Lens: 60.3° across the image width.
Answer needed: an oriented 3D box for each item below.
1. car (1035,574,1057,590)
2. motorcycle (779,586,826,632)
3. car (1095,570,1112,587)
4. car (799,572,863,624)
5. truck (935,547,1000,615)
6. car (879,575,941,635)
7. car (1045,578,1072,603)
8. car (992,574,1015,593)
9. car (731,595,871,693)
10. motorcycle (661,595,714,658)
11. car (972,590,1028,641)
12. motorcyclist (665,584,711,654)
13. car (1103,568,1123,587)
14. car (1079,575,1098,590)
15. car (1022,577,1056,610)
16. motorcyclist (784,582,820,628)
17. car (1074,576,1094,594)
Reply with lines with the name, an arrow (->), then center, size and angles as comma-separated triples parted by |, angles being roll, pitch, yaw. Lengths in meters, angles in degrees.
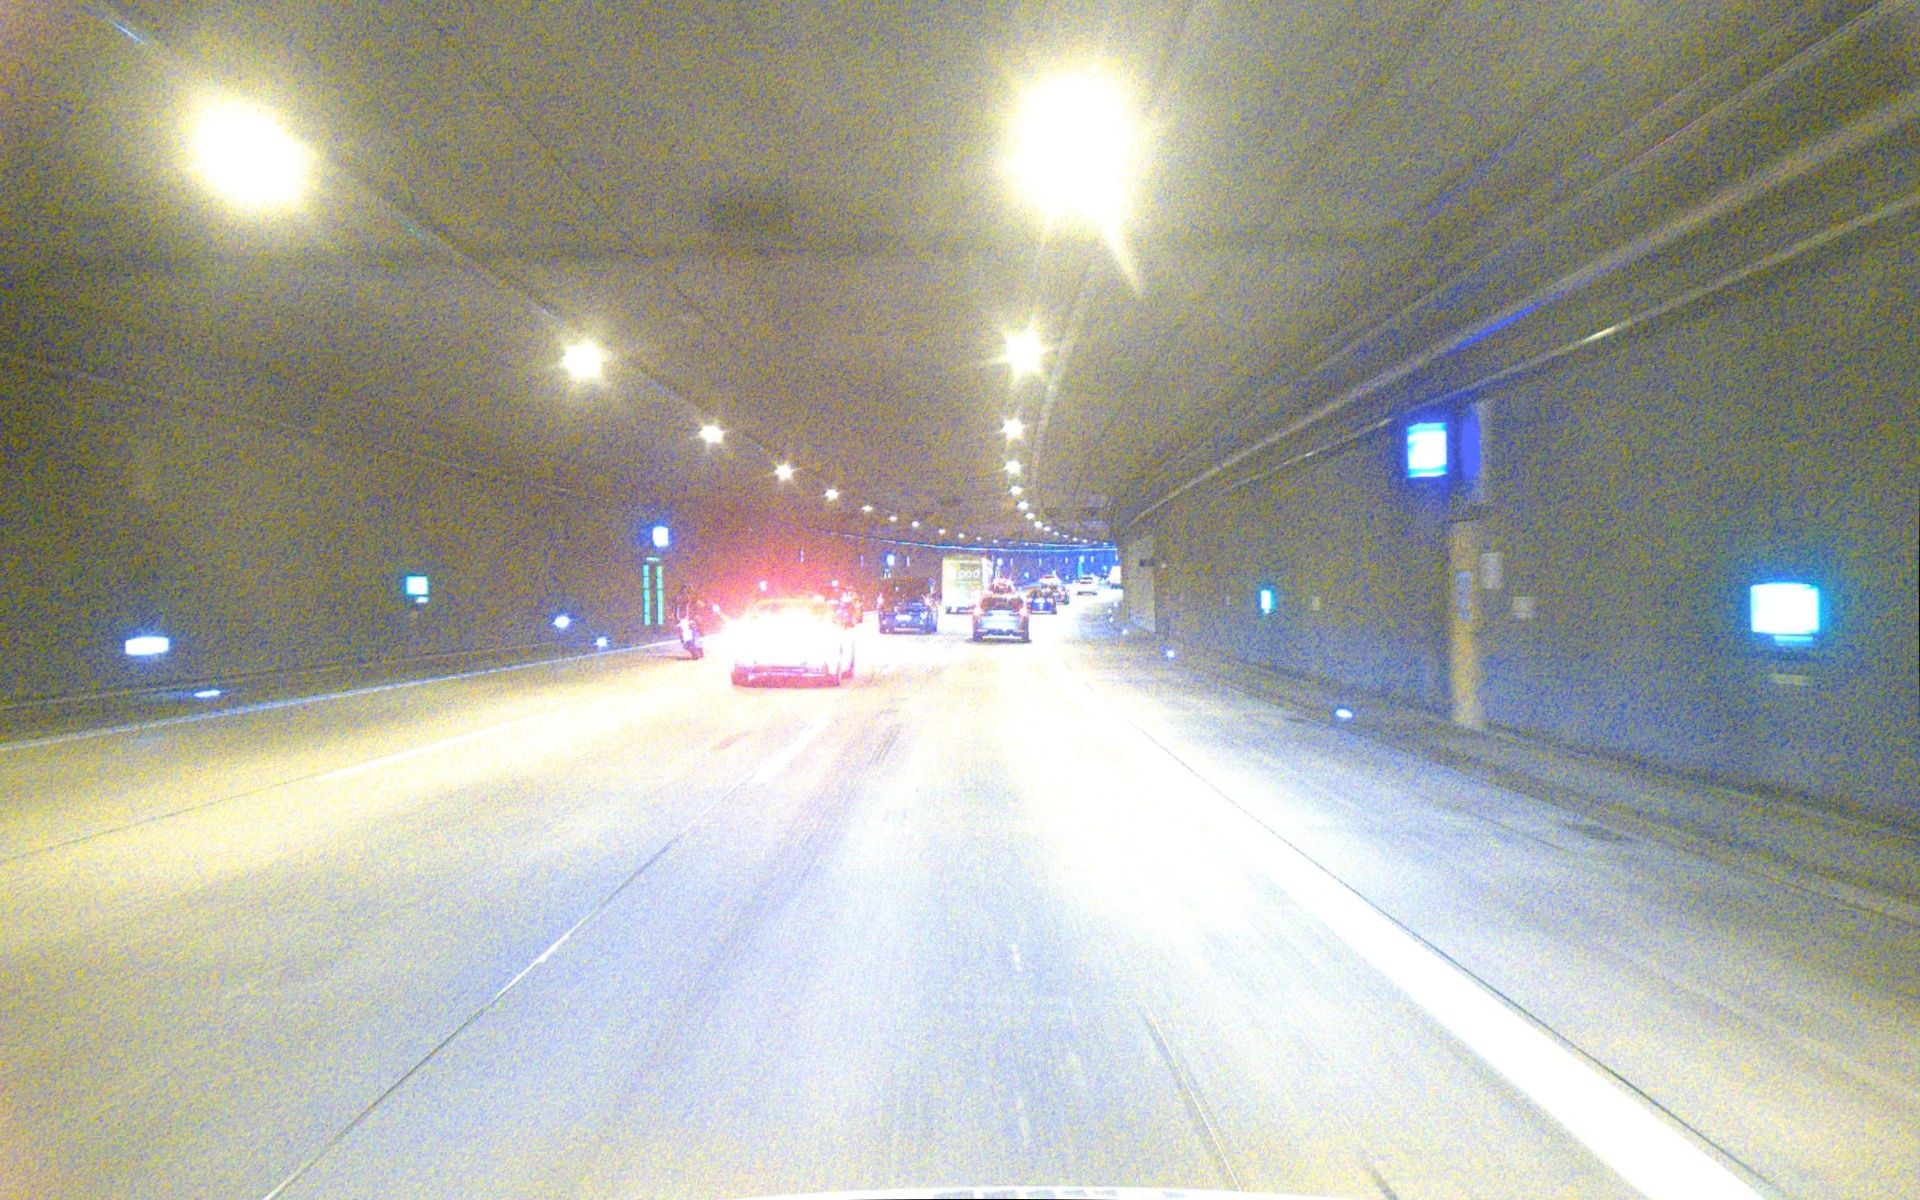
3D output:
car -> 9.704, -2.008, 185.591 | 1.889, 1.671, 4.003 | 1, 0, 11
motorcycle -> -5.128, 0.302, 54.040 | 0.906, 1.459, 2.965 | 1, 0, 6
car -> 17.716, -2.638, 203.544 | 1.951, 2.049, 4.003 | 1, 0, 6
car -> -5.217, -0.076, 67.181 | 1.951, 2.049, 4.002 | 0, 0, 5
truck -> 0.504, -1.069, 94.894 | 2.974, 3.737, 7.398 | 0, 0, 6
car -> -1.739, 0.128, 58.874 | 1.869, 1.978, 3.874 | 0, 2, 3
car -> 7.384, -0.702, 123.621 | 1.909, 1.803, 4.002 | 1, 0, 4
car -> 4.026, -1.499, 152.316 | 1.890, 1.671, 4.003 | 0, 0, 5
car -> -2.631, 0.679, 28.515 | 1.666, 1.443, 5.063 | 0, 1, 3
motorcycle -> -5.938, 0.560, 36.116 | 0.668, 1.319, 2.399 | 1, 0, 2
car -> 1.270, 0.453, 52.269 | 1.706, 1.489, 3.872 | 0, 1, 2
motorcyclist -> -5.944, 0.412, 36.152 | 0.761, 1.478, 1.069 | 1, -1, 2
car -> 17.868, -2.642, 192.916 | 1.951, 2.049, 4.003 | 1, 0, 10
car -> 14.657, -2.012, 188.958 | 1.951, 1.660, 4.003 | 1, 0, 7
car -> 4.622, -0.383, 96.386 | 1.818, 1.887, 4.002 | 0, 0, 4
motorcyclist -> -5.151, 0.171, 54.060 | 0.789, 1.473, 1.866 | 1, -1, 7
car -> 12.110, -1.442, 161.600 | 1.890, 1.671, 4.002 | 1, 0, 5
